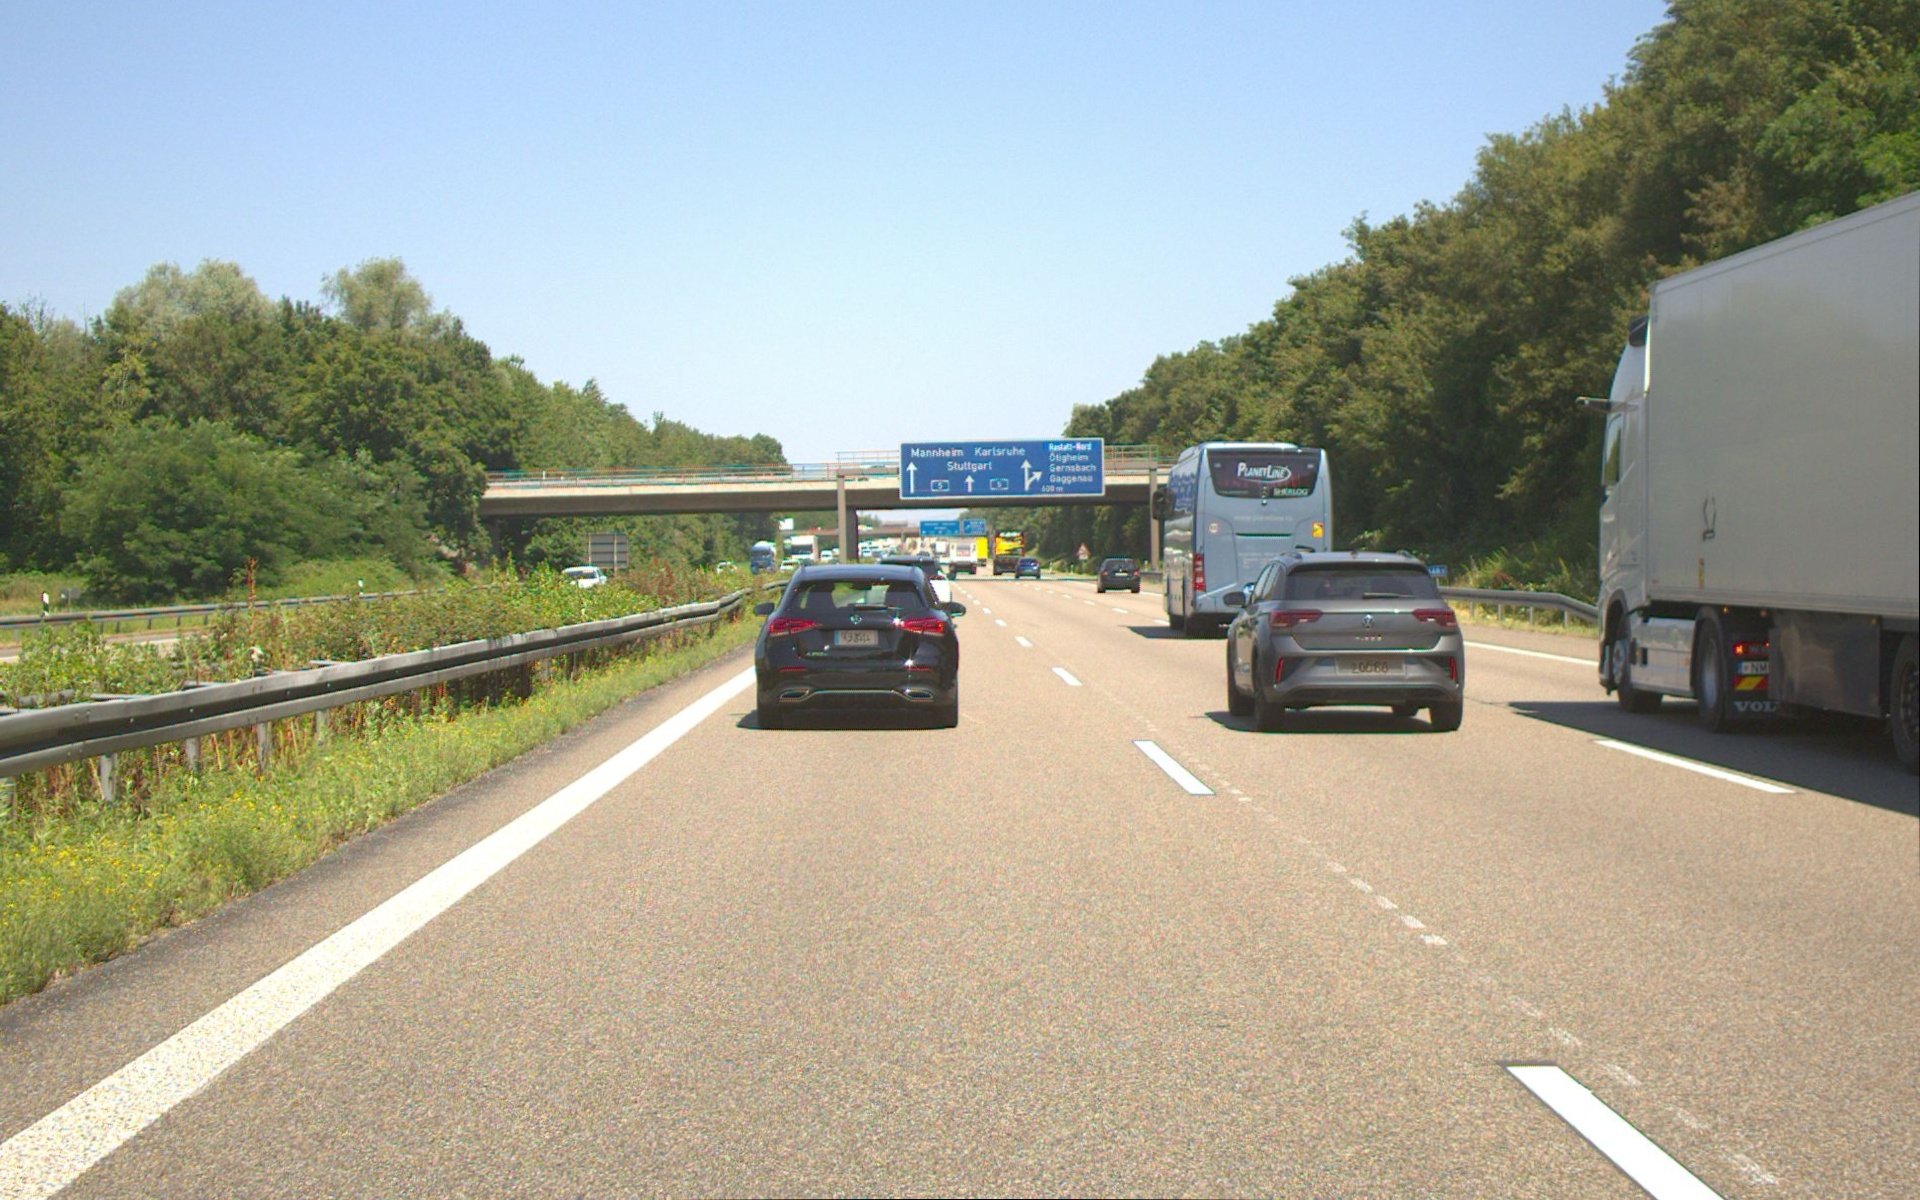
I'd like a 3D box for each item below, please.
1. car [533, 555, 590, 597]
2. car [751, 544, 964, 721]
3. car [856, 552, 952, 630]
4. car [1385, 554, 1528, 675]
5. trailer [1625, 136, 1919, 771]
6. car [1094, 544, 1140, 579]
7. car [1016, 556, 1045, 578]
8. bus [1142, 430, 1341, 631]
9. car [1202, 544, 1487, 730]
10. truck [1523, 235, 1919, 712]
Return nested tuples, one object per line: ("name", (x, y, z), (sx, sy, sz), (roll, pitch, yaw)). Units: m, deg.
("car", (-14.659, -0.895, 126.584), (1.633, 1.422, 4.661), (-2, 1, -1))
("car", (-0.926, 0.241, 31.258), (1.799, 1.497, 4.242), (0, 1, -2))
("car", (-1.174, -0.204, 70.448), (1.899, 1.527, 4.242), (0, 1, -2))
("car", (9.093, 0.231, 63.252), (1.899, 2.113, 4.242), (0, 1, -2))
("trailer", (7.827, -0.994, 24.673), (3.039, 4.210, 13.837), (0, 1, -2))
("car", (6.657, -1.657, 145.800), (1.789, 1.456, 3.949), (0, 1, 0))
("car", (5.186, -2.427, 252.300), (2.081, 1.527, 4.241), (0, 1, 0))
("bus", (5.353, -1.321, 67.597), (2.802, 3.584, 12.475), (0, 1, 0))
("car", (3.362, 0.269, 30.928), (1.899, 1.527, 4.760), (0, 1, -2))
("truck", (7.590, -1.163, 33.465), (3.047, 4.200, 6.049), (0, 1, -2))
